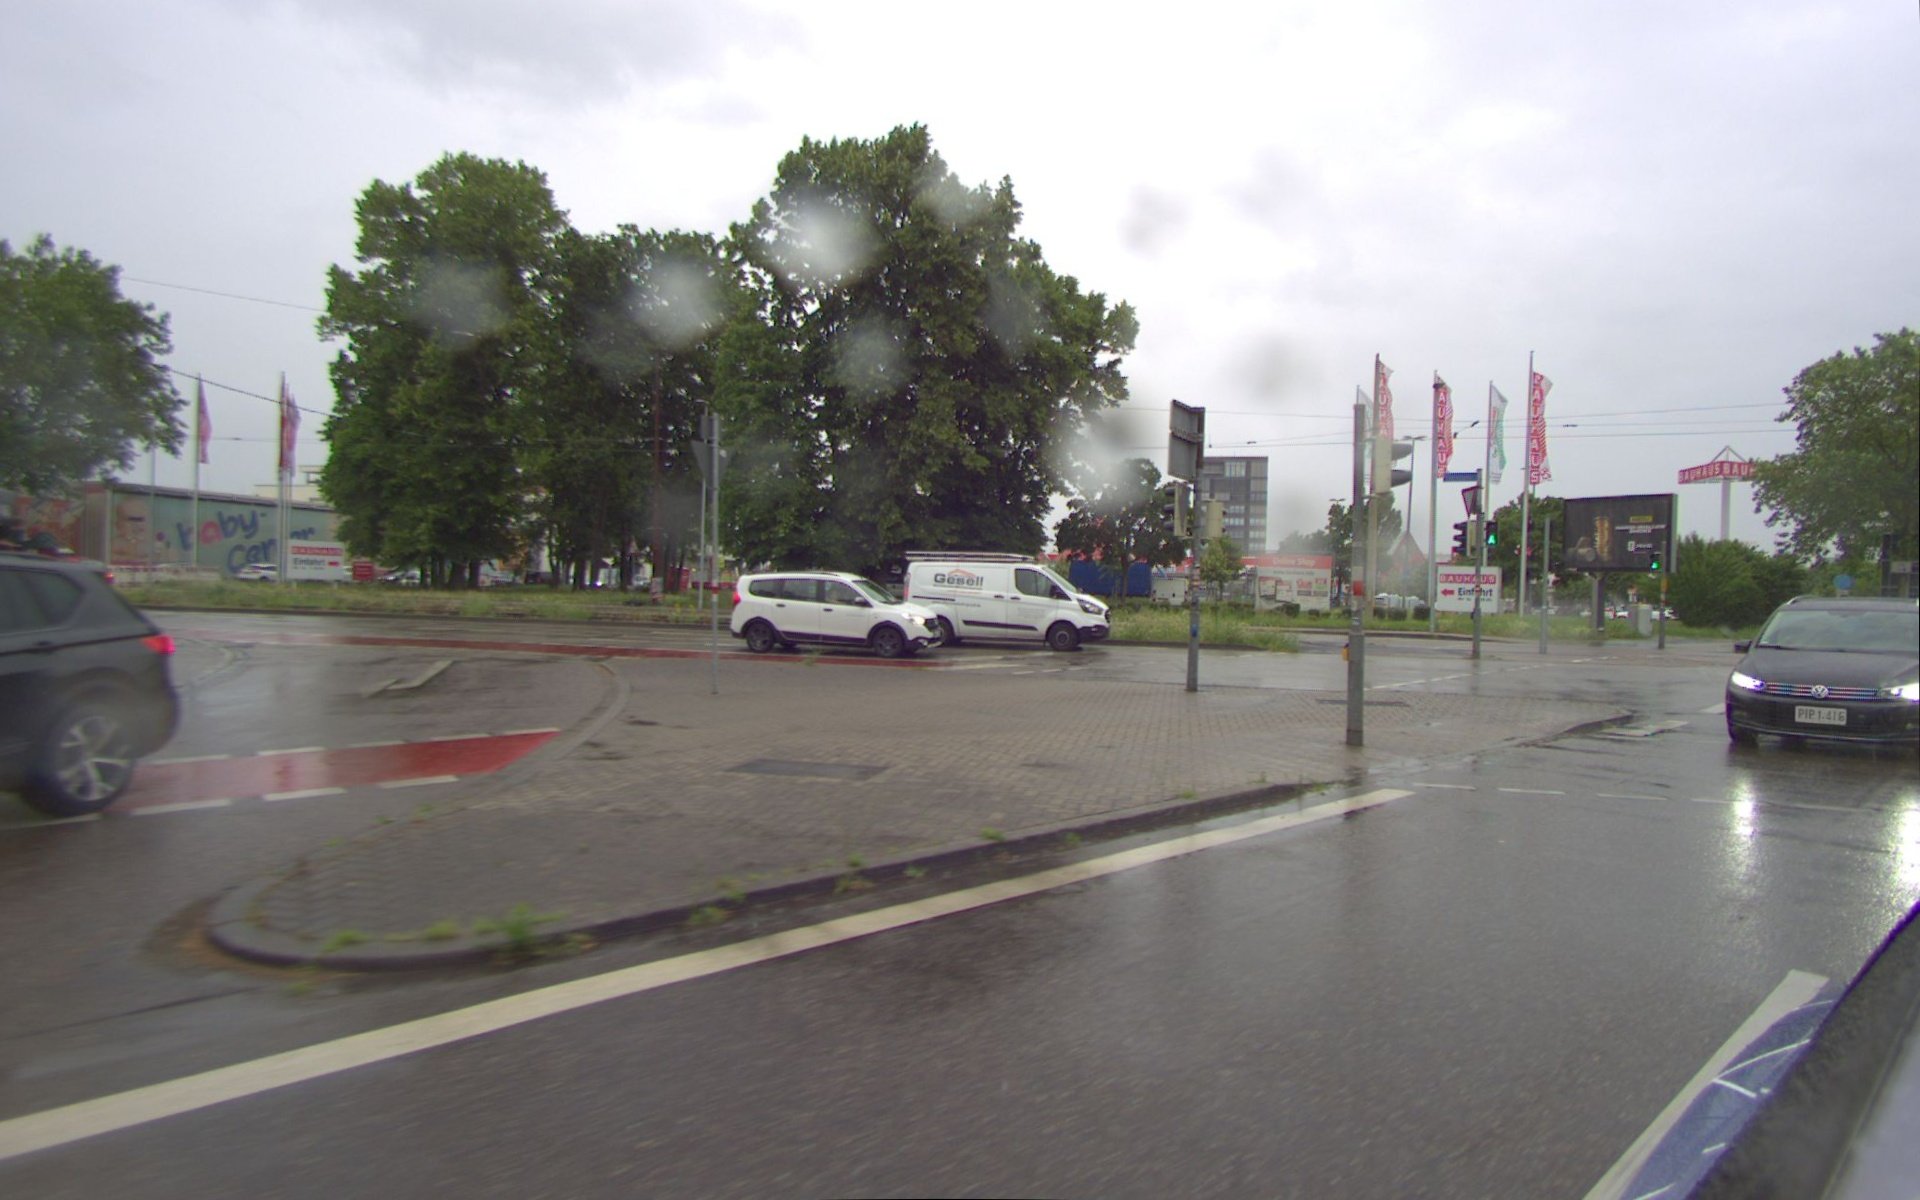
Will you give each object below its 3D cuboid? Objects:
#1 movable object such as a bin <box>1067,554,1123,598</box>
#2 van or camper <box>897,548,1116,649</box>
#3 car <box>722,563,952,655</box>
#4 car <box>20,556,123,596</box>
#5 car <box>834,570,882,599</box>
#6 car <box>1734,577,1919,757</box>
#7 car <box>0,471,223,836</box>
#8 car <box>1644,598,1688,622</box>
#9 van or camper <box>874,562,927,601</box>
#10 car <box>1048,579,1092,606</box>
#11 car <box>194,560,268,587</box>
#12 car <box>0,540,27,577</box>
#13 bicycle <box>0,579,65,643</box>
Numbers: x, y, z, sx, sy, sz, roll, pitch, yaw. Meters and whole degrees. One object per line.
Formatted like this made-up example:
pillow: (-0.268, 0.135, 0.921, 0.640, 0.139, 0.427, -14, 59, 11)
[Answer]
movable object such as a bin: (10.592, -1.855, 79.093, 4.188, 3.325, 2.319, 0, 0, 13)
van or camper: (1.120, -0.071, 23.554, 4.832, 2.114, 1.862, 2, 1, 12)
car: (-2.506, 0.143, 21.056, 4.392, 1.693, 1.862, 2, 1, 12)
car: (-41.640, -1.125, 47.468, 3.724, 1.801, 1.800, 0, 0, 13)
car: (-6.509, -0.995, 65.173, 1.839, 1.749, 3.951, 2, 1, 14)
car: (10.477, 0.656, 11.554, 4.118, 1.748, 1.859, 0, 0, -42)
car: (-6.403, 0.296, 5.125, 1.895, 2.082, 4.757, 2, 1, 0)
car: (51.418, 0.723, 73.689, 3.932, 1.639, 1.820, 0, 2, -43)
van or camper: (-3.719, -1.156, 63.858, 2.103, 2.328, 4.448, 2, 1, 14)
car: (6.662, -0.486, 61.883, 1.960, 1.593, 4.004, 1, 1, -4)
car: (-49.231, -1.774, 68.423, 1.785, 1.801, 3.757, 0, 1, 20)
car: (-49.965, -2.137, 52.407, 3.759, 1.801, 1.783, 0, 1, 37)
bicycle: (-16.645, 0.174, 17.797, 0.795, 1.051, 1.629, 1, 1, -20)
